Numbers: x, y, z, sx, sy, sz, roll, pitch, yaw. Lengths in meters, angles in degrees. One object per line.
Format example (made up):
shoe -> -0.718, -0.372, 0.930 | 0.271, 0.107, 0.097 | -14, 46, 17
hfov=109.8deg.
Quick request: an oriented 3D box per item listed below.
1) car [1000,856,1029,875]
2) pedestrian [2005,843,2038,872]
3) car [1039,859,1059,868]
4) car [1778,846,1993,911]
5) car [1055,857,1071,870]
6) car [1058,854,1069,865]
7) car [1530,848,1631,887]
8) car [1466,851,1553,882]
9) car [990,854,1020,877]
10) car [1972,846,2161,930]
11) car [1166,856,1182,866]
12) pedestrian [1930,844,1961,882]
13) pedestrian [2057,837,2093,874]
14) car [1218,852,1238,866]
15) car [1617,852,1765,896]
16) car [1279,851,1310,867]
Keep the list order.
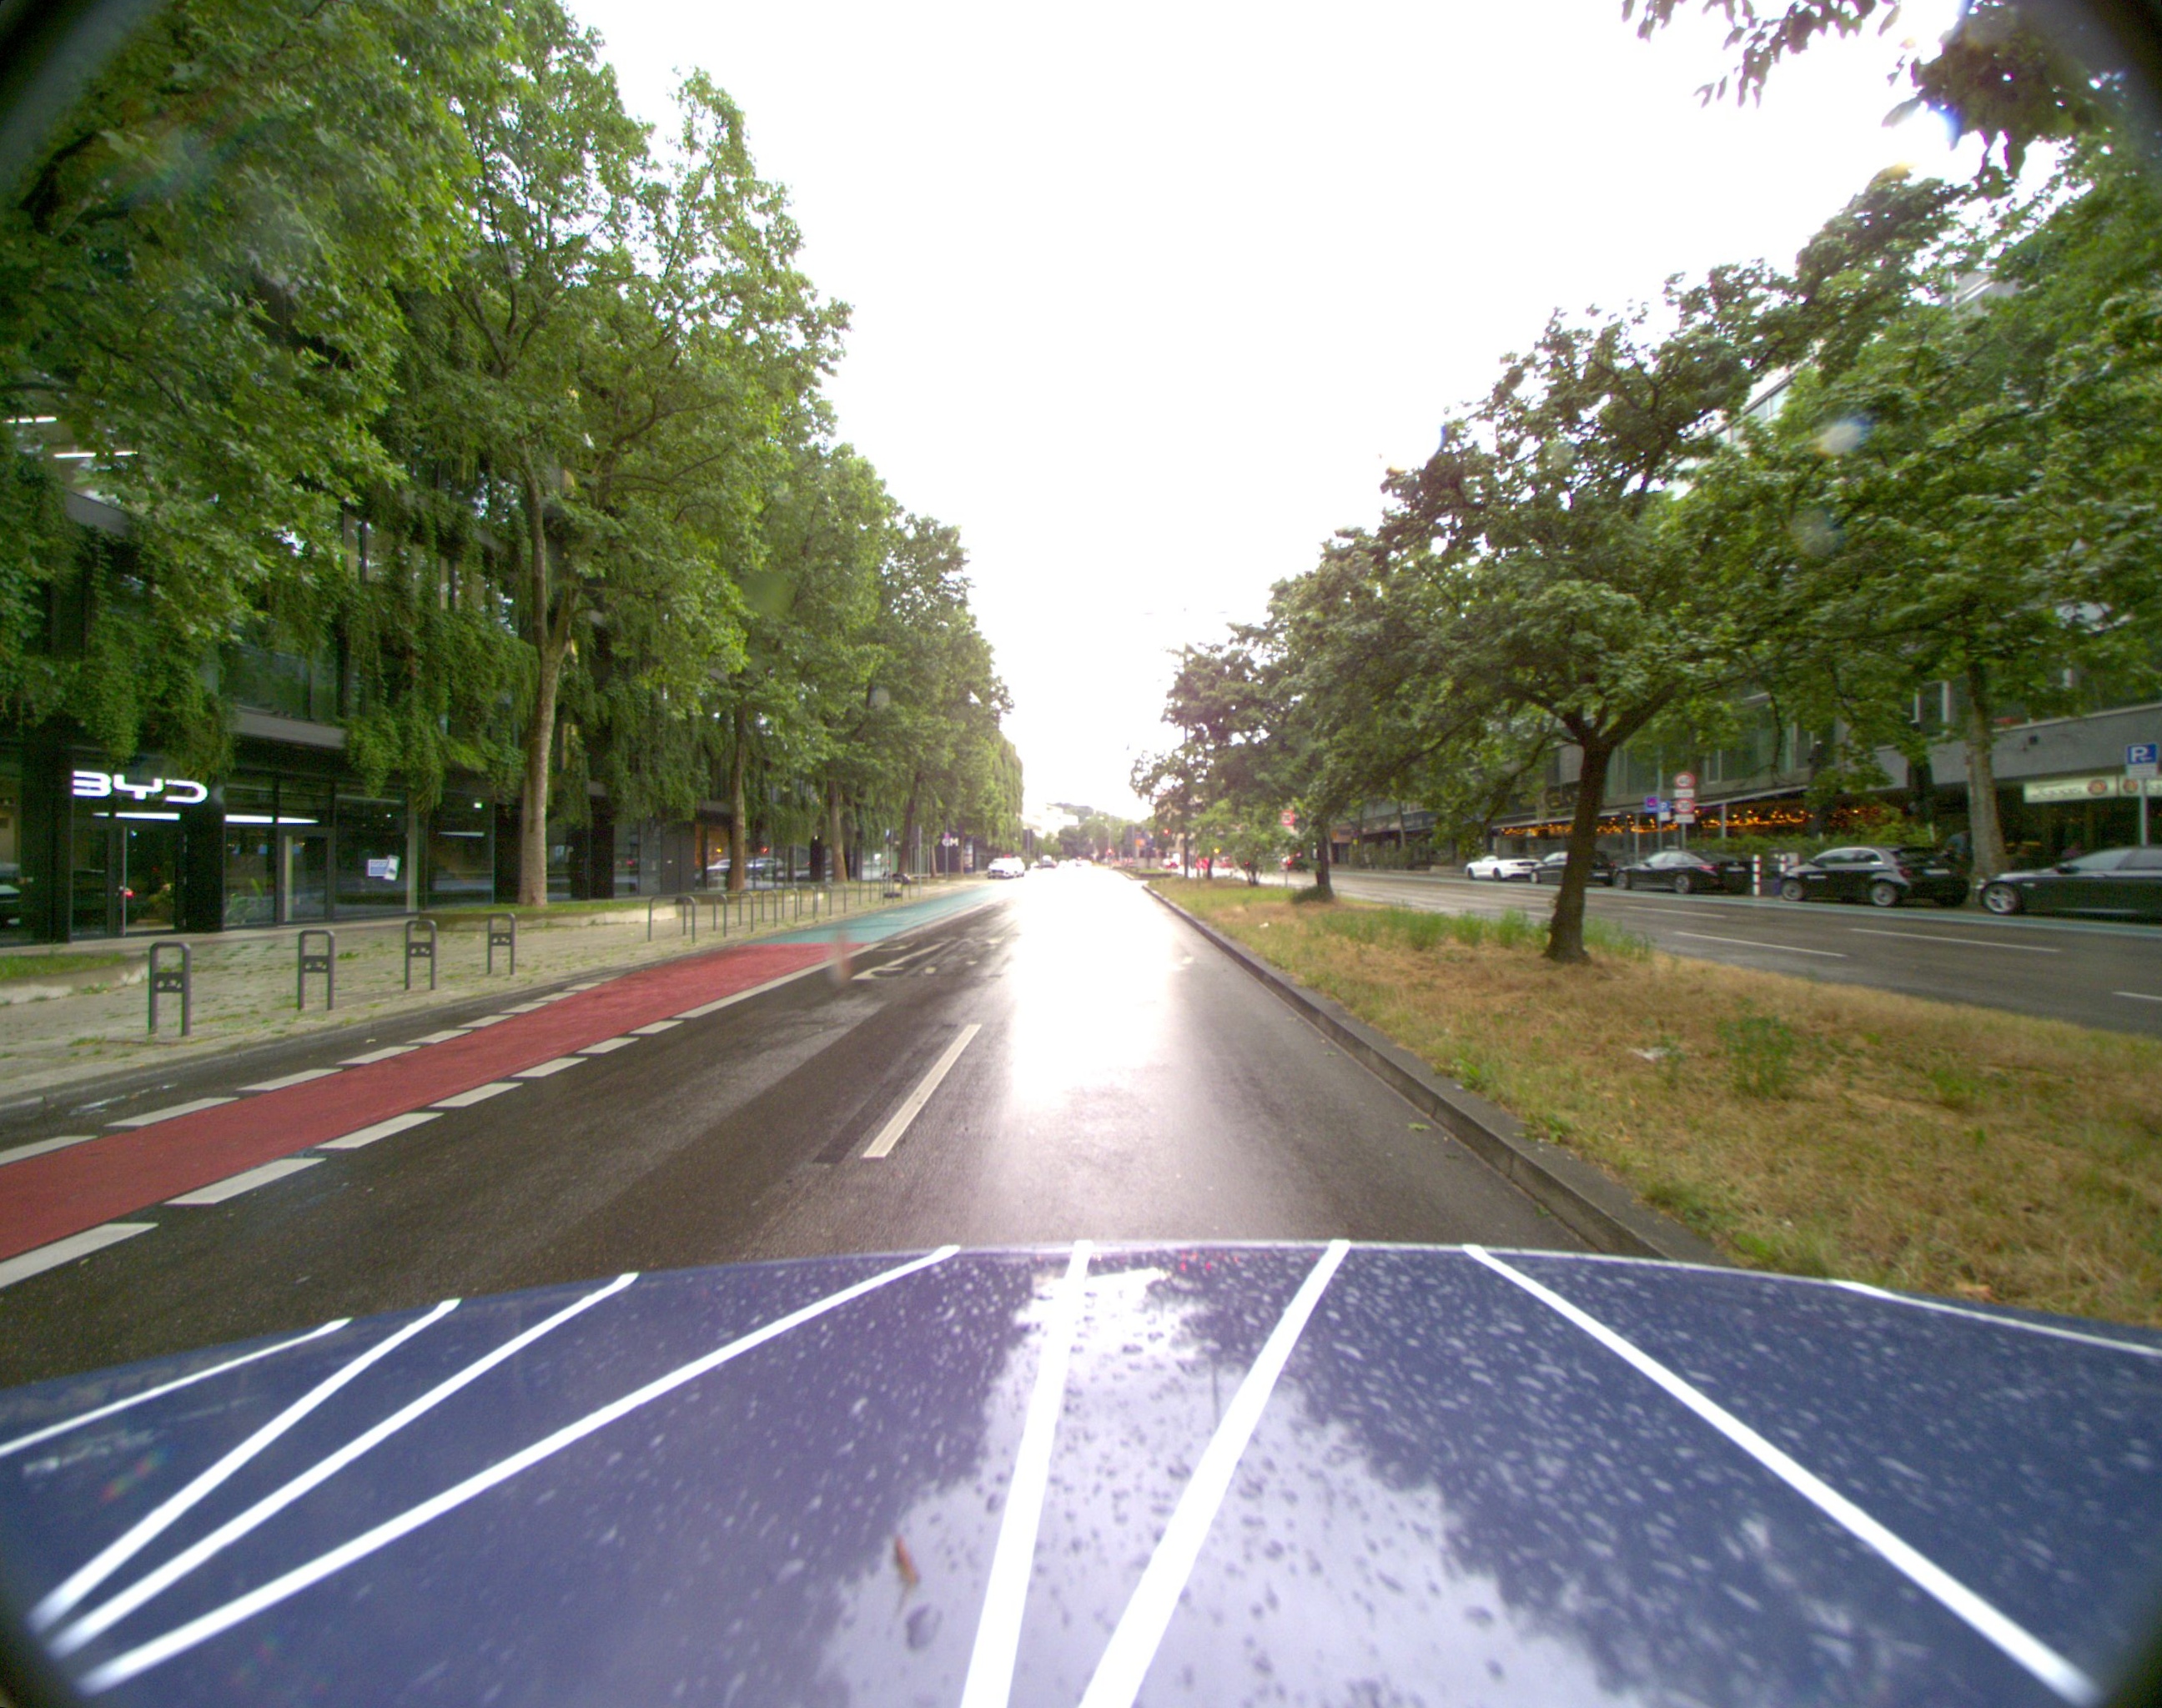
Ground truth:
car -> -6.081, 1.031, 70.395 | 2.036, 1.553, 4.585 | -2, 1, 2
pedestrian -> 27.941, 0.092, 22.585 | 0.440, 0.845, 0.433 | -2, 1, -1
car -> -6.153, 1.828, 147.128 | 3.453, 1.450, 1.652 | -2, 1, 18
car -> 20.107, 0.552, 19.212 | 1.875, 1.414, 3.400 | -2, 1, 2
car -> -2.191, 1.183, 95.417 | 1.780, 1.546, 3.929 | -2, 1, 1
car -> -2.705, 0.840, 120.308 | 1.556, 1.534, 3.663 | -2, 1, 1
car -> 20.435, 0.507, 31.265 | 1.750, 1.445, 3.788 | -2, 1, 2
car -> 20.752, 0.555, 37.043 | 1.881, 1.318, 4.392 | -2, 1, 2
car -> -6.393, 0.964, 64.319 | 1.932, 1.726, 4.598 | -2, 1, 0
car -> 19.882, 0.601, 13.974 | 1.875, 1.377, 4.537 | -2, 1, 5
car -> 13.007, 0.965, 106.175 | 1.678, 1.381, 3.527 | -2, 1, -2
pedestrian -> 27.712, 0.279, 24.362 | 0.445, 1.179, 0.467 | -2, 1, -2
pedestrian -> 27.753, 0.032, 21.218 | 0.464, 1.010, 0.424 | -2, 1, -1
car -> 19.631, 0.649, 101.424 | 1.938, 1.776, 3.955 | -2, 1, 2
car -> 20.176, 0.594, 25.399 | 1.647, 1.232, 4.319 | -2, 1, 3
car -> 19.168, 0.449, 68.266 | 1.765, 1.318, 3.738 | -2, 1, 2
